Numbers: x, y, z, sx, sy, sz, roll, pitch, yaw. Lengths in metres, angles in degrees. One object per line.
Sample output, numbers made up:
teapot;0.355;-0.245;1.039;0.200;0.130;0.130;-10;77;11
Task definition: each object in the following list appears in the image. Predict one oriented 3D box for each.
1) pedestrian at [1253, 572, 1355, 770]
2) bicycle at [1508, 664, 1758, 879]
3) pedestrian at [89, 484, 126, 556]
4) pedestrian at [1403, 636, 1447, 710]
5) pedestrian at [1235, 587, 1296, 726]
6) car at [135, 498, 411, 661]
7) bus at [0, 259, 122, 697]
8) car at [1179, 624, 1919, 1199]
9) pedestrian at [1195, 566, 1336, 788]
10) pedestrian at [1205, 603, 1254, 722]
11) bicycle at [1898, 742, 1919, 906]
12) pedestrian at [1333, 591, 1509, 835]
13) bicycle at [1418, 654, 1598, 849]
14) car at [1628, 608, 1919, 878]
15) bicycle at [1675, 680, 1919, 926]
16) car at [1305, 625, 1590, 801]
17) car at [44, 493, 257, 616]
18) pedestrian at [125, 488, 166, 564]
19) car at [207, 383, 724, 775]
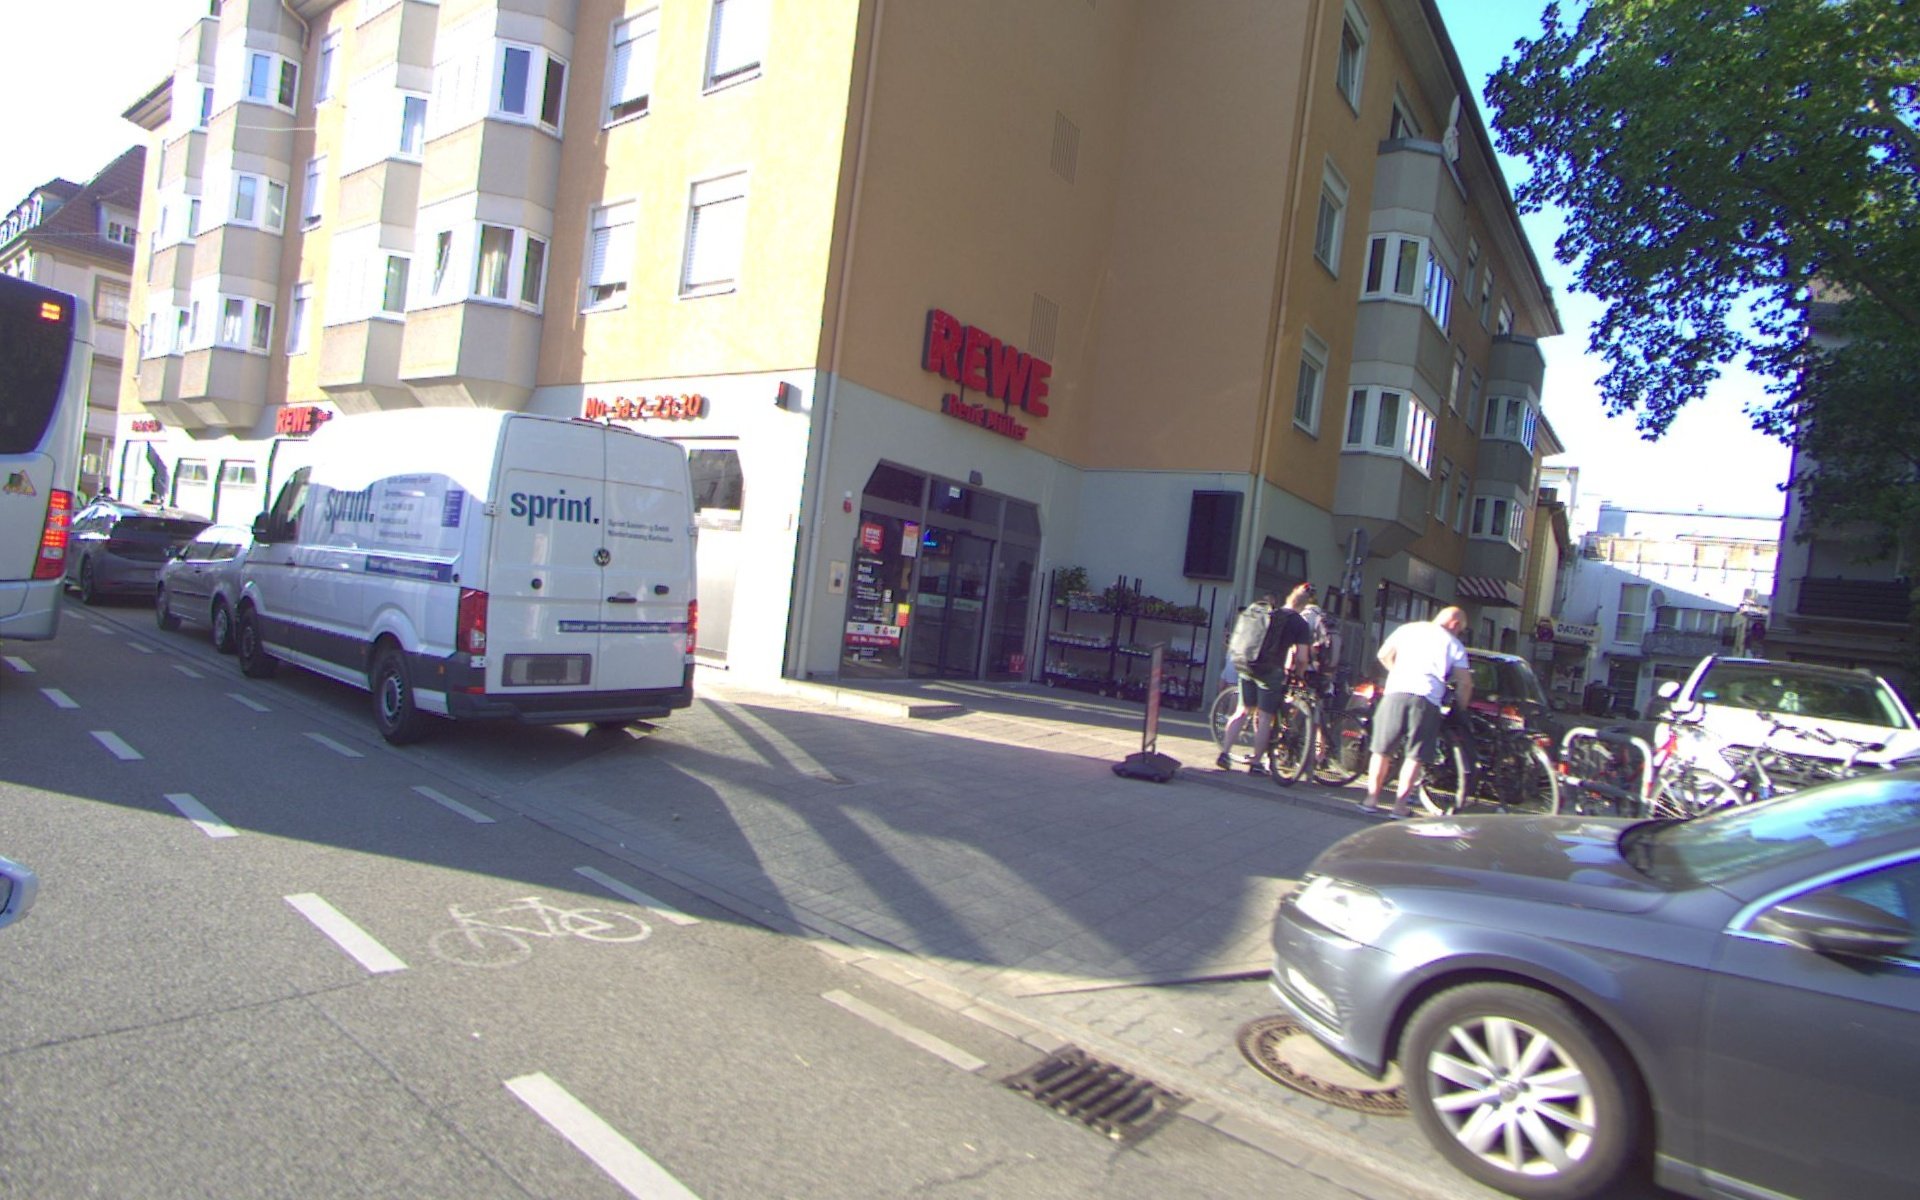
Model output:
pedestrian;3.344;0.672;9.779;0.640;1.807;0.527;8;5;32
bicycle;4.792;1.161;7.314;0.639;1.242;1.583;6;0;1
pedestrian;-22.459;-2.103;26.502;0.443;1.807;0.546;7;1;39
pedestrian;10.344;1.624;22.391;0.587;1.560;0.742;7;1;37
pedestrian;4.348;0.793;14.327;0.465;1.905;0.575;6;1;-2
car;-8.759;-0.296;12.723;3.730;1.608;1.836;7;0;40
bus;-10.742;-1.338;9.353;8.725;3.091;2.738;7;-1;40
car;3.150;1.089;2.789;4.581;1.551;1.694;7;3;37
pedestrian;2.681;0.643;8.823;0.757;1.776;0.804;9;5;39
pedestrian;3.757;0.864;14.051;0.413;1.587;0.639;7;1;9
bicycle;6.416;1.456;5.695;0.639;1.026;1.583;7;0;1
pedestrian;3.532;0.812;7.710;0.974;1.659;0.659;8;5;32
bicycle;4.134;1.089;7.715;0.396;1.242;1.520;6;0;-1
car;7.607;1.311;9.261;1.970;1.727;4.622;7;-3;38
bicycle;5.600;1.235;6.455;0.636;1.242;1.580;6;0;-7
car;5.508;1.168;11.071;1.971;1.449;4.012;3;-2;38
car;-13.272;-0.786;16.415;4.168;1.556;1.836;7;0;40
pedestrian;-20.392;-1.855;25.193;0.443;1.805;0.547;6;-1;39
car;-4.808;-0.349;9.209;5.700;2.586;2.012;7;4;39
